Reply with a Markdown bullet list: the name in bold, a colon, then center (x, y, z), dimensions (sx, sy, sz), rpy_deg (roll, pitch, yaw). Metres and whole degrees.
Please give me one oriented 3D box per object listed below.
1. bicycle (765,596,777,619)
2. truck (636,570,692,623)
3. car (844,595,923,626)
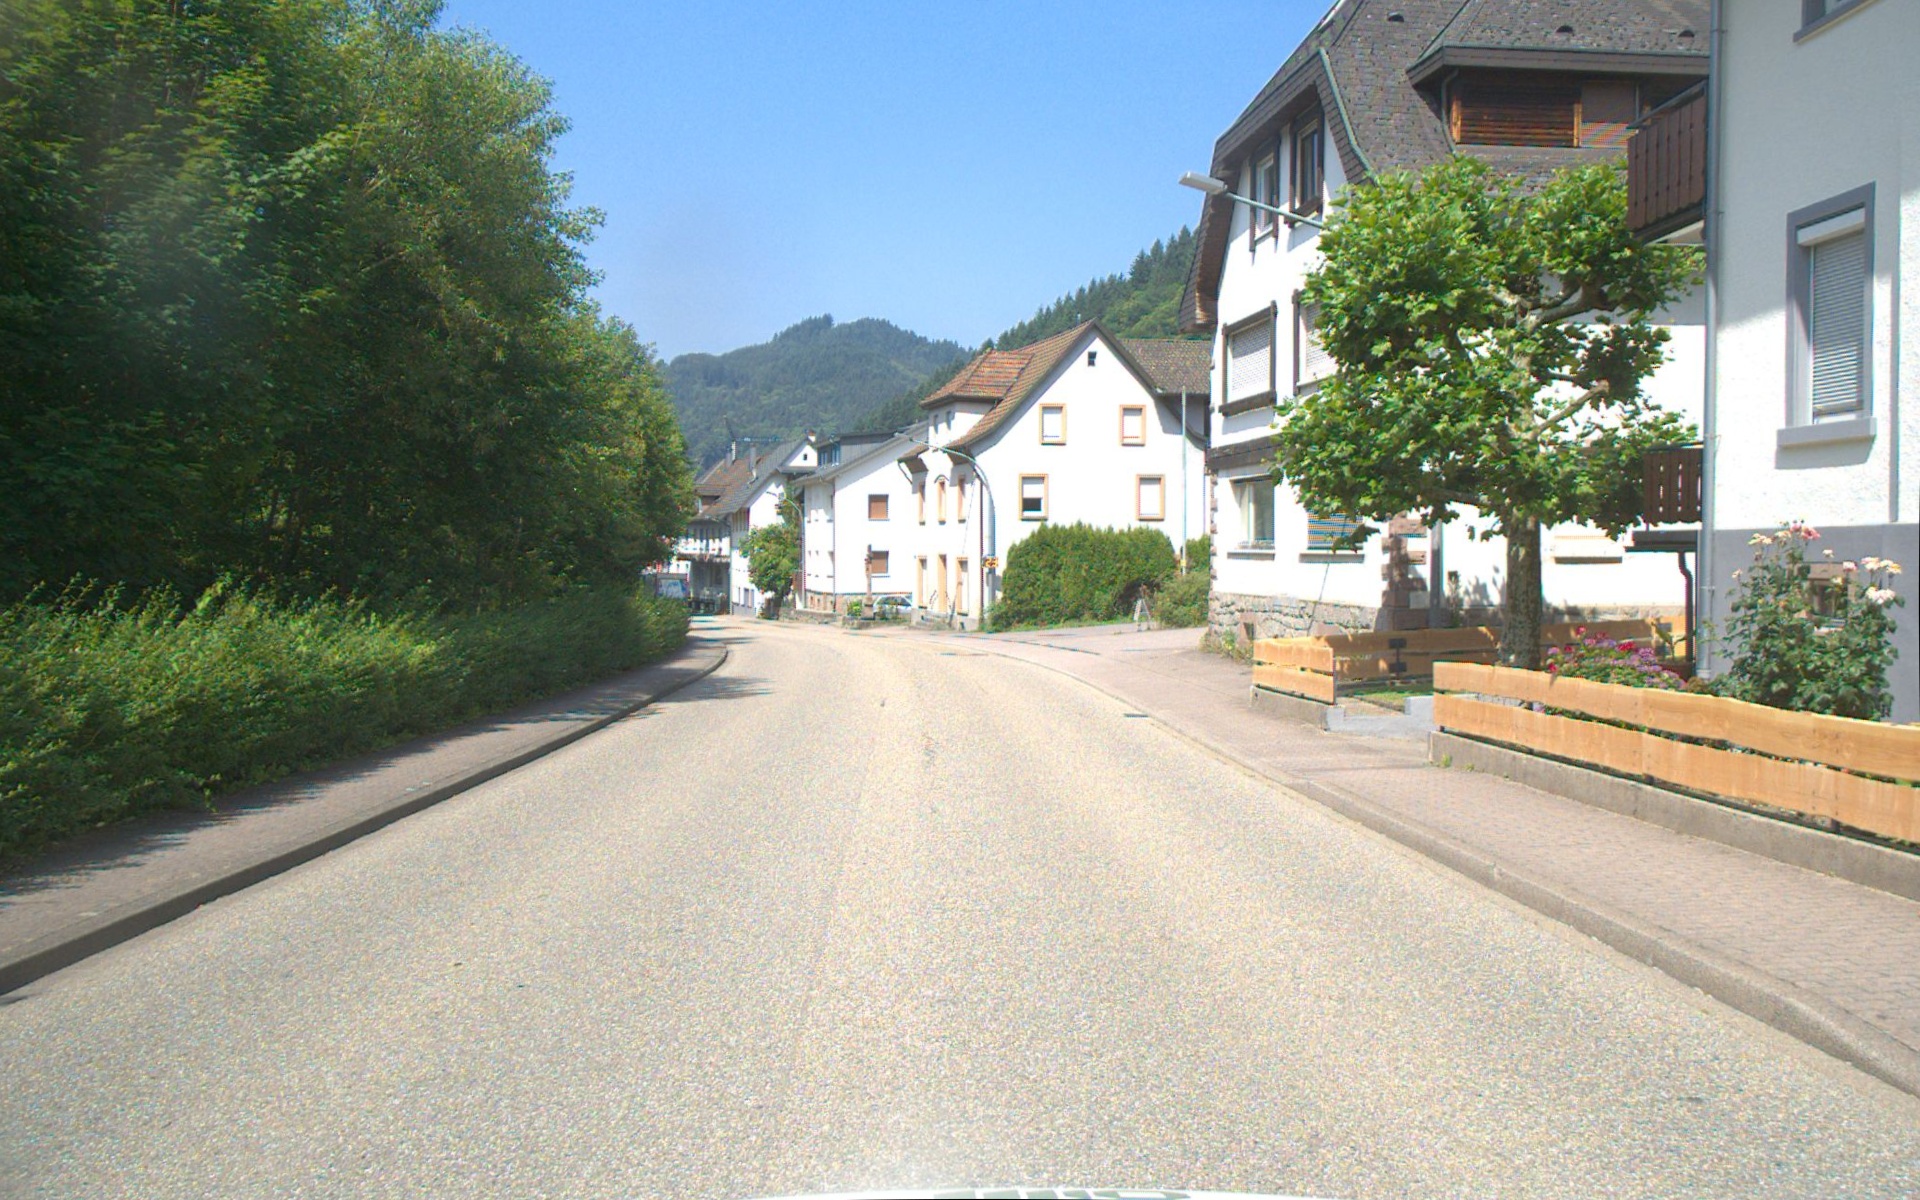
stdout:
- **bicycle**: center (-12.330, 0.473, 107.866), dimensions (0.418, 1.420, 2.268), rpy_deg (-4, 1, -14)
- **truck**: center (-24.736, -0.214, 137.735), dimensions (3.312, 3.847, 8.396), rpy_deg (-4, -1, -18)
- **car**: center (-3.878, 0.543, 83.985), dimensions (3.694, 1.452, 1.607), rpy_deg (-2, 0, 31)
